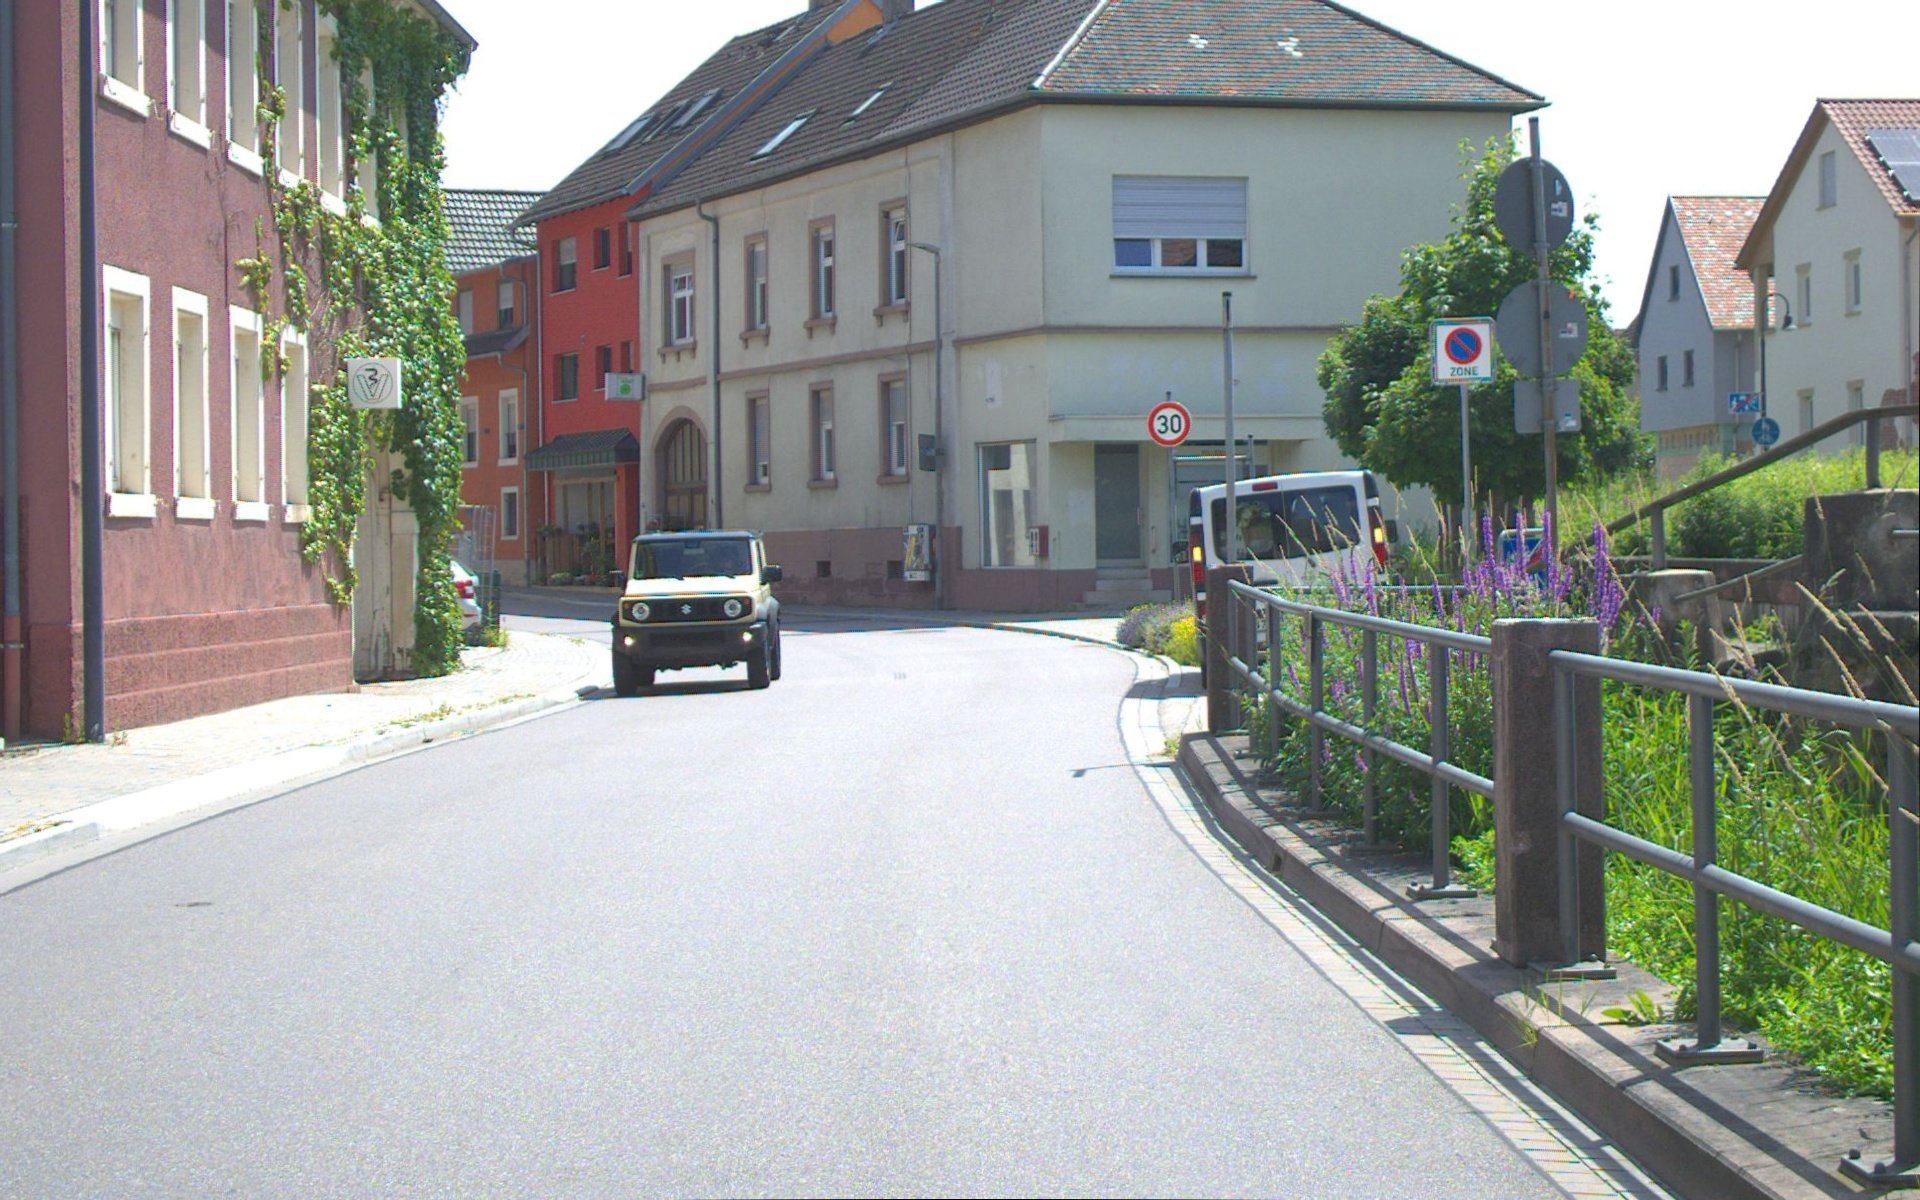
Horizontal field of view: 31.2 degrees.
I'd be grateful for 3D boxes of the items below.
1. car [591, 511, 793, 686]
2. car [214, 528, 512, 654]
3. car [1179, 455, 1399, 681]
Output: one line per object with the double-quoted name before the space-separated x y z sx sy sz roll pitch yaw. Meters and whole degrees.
"car" -2.830 -0.058 36.953 1.622 1.713 3.473 -3 1 4
"car" -8.245 -0.109 47.320 3.996 1.525 1.995 -3 -2 43
"car" 3.096 -0.326 32.874 1.898 1.974 3.113 -3 1 4
